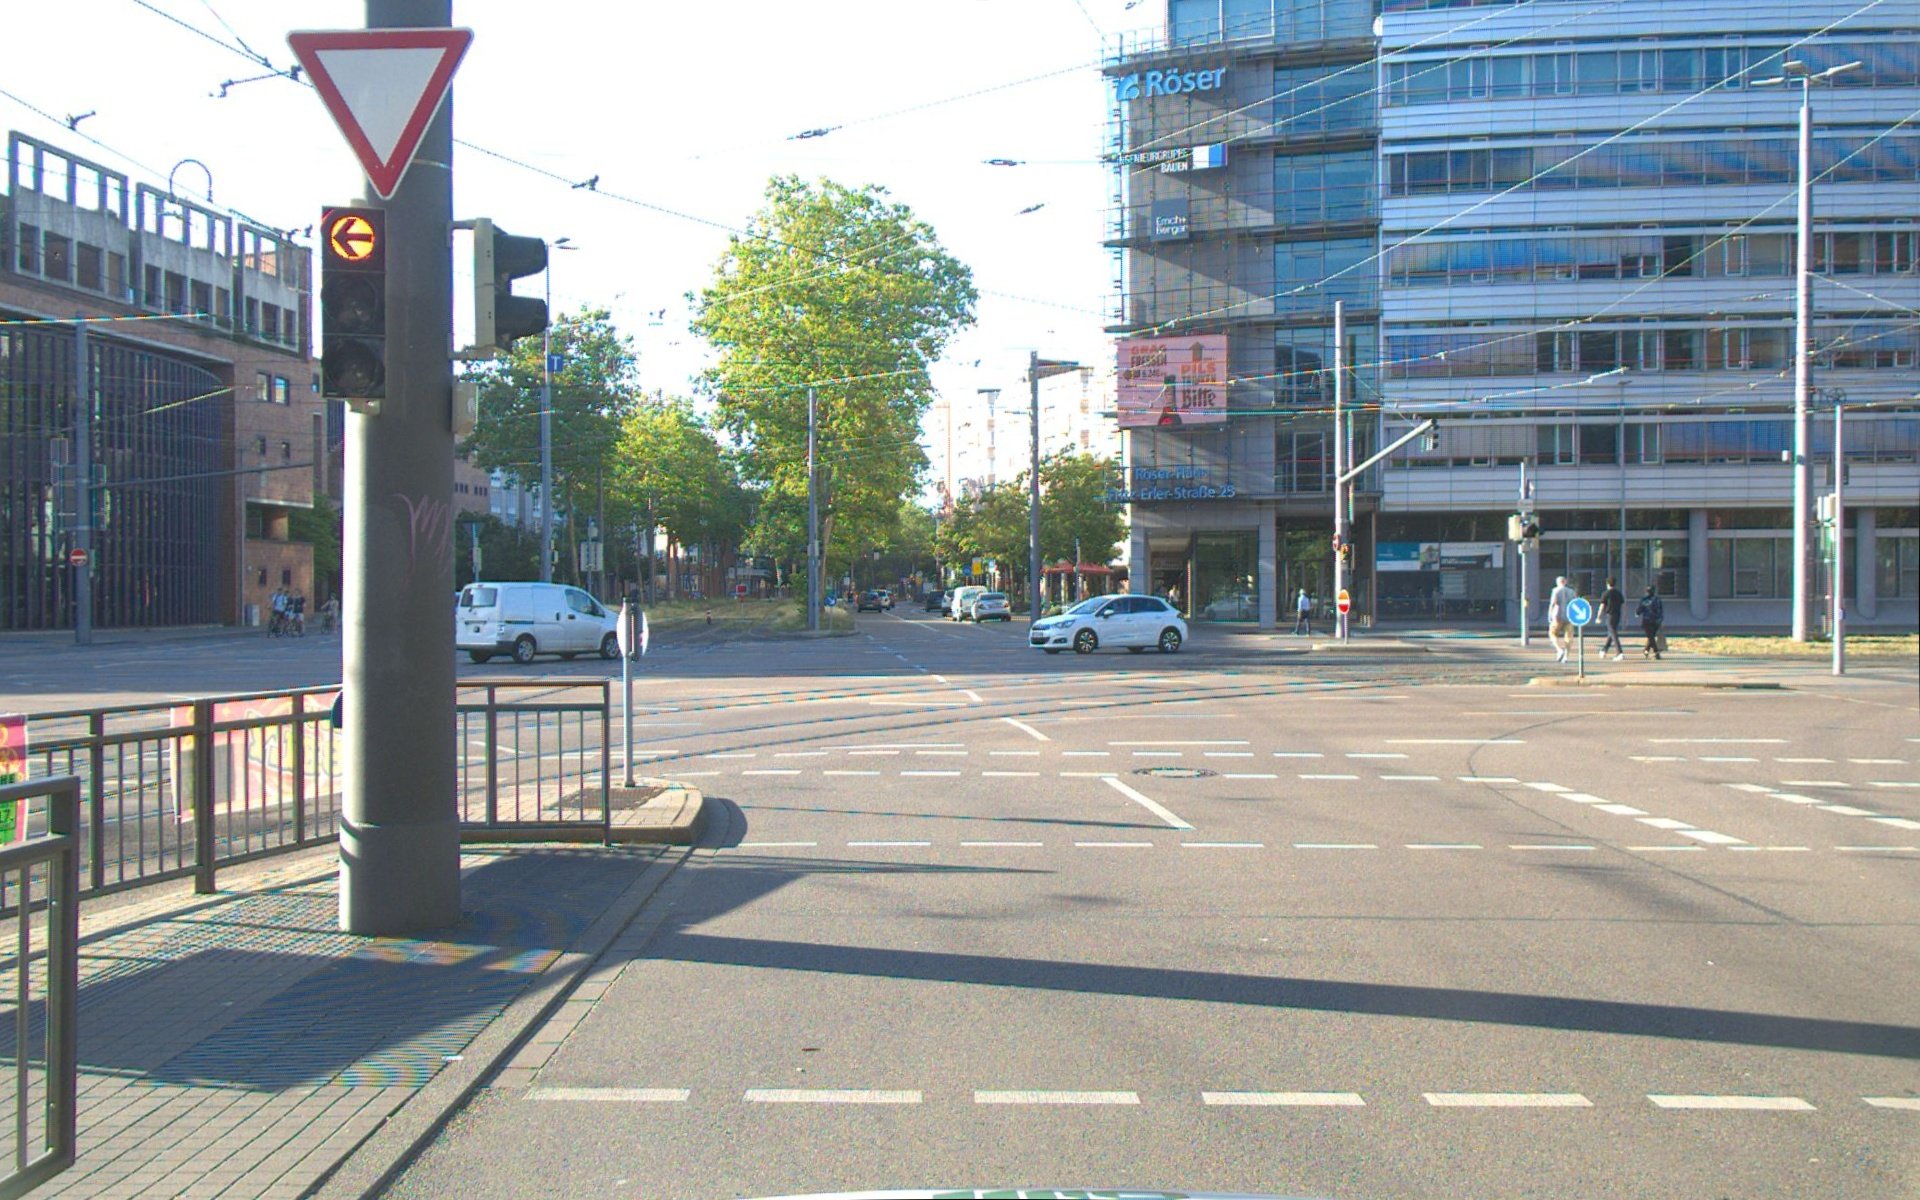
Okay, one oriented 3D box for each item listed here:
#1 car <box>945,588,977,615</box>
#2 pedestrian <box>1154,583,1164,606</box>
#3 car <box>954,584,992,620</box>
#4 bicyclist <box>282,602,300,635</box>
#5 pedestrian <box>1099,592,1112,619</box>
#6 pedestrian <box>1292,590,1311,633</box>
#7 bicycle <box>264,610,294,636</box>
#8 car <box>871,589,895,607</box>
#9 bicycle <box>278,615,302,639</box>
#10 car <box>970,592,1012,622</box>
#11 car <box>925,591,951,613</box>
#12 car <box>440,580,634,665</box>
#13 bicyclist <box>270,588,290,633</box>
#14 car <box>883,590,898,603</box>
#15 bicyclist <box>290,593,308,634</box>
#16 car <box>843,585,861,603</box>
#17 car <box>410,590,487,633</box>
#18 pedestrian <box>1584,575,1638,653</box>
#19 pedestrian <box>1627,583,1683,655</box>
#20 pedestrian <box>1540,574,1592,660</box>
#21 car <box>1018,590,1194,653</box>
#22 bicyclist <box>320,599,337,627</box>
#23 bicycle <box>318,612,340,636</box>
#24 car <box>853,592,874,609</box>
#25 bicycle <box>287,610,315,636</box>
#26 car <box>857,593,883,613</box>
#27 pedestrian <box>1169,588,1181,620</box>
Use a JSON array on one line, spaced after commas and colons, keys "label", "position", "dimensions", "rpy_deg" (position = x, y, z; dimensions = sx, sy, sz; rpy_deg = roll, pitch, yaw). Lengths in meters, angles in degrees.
[{"label": "car", "position": [0.030, 0.068, 105.211], "dimensions": [1.953, 1.646, 3.999], "rpy_deg": [-1, 0, -1]}, {"label": "pedestrian", "position": [15.307, -0.411, 127.200], "dimensions": [0.729, 1.744, 0.612], "rpy_deg": [-1, 0, -1]}, {"label": "car", "position": [0.682, 0.114, 89.575], "dimensions": [1.953, 1.892, 3.999], "rpy_deg": [-1, 0, -1]}, {"label": "bicyclist", "position": [-27.570, 0.761, 68.165], "dimensions": [0.495, 1.327, 0.581], "rpy_deg": [-1, 0, -1]}, {"label": "pedestrian", "position": [9.260, 0.355, 105.130], "dimensions": [0.729, 1.744, 0.612], "rpy_deg": [-1, 0, -1]}, {"label": "pedestrian", "position": [12.209, 0.397, 59.210], "dimensions": [0.599, 1.534, 0.579], "rpy_deg": [-1, 0, 7]}, {"label": "bicycle", "position": [-26.833, 0.915, 65.153], "dimensions": [0.531, 0.980, 1.586], "rpy_deg": [-1, 0, -1]}, {"label": "car", "position": [-6.273, -0.179, 135.101], "dimensions": [1.761, 1.467, 3.999], "rpy_deg": [-1, 0, -1]}, {"label": "bicycle", "position": [-27.584, 1.103, 68.144], "dimensions": [0.458, 0.980, 1.320], "rpy_deg": [-1, 0, -1]}, {"label": "car", "position": [1.531, 0.334, 82.789], "dimensions": [1.953, 1.400, 3.999], "rpy_deg": [-1, 0, -1]}, {"label": "car", "position": [-1.686, 0.128, 126.635], "dimensions": [1.953, 1.646, 3.999], "rpy_deg": [-1, 0, -1]}, {"label": "car", "position": [-10.044, 0.486, 39.593], "dimensions": [1.725, 1.899, 4.511], "rpy_deg": [-1, 0, 34]}, {"label": "bicyclist", "position": [-26.800, 0.420, 65.149], "dimensions": [0.525, 1.761, 0.581], "rpy_deg": [-1, 0, -1]}, {"label": "car", "position": [-9.550, -0.442, 228.139], "dimensions": [1.953, 1.780, 3.999], "rpy_deg": [-1, 0, -1]}, {"label": "bicyclist", "position": [-26.124, 0.524, 65.394], "dimensions": [0.449, 1.631, 0.581], "rpy_deg": [-1, 0, -1]}, {"label": "car", "position": [-13.028, -0.706, 199.257], "dimensions": [1.953, 2.049, 3.999], "rpy_deg": [-1, 0, -1]}, {"label": "car", "position": [-20.672, 0.441, 67.036], "dimensions": [1.953, 1.668, 3.999], "rpy_deg": [-1, 0, -2]}, {"label": "pedestrian", "position": [14.678, 0.311, 37.315], "dimensions": [0.893, 1.714, 1.036], "rpy_deg": [-1, 0, 6]}, {"label": "pedestrian", "position": [15.612, 0.420, 37.163], "dimensions": [0.928, 1.591, 0.897], "rpy_deg": [-1, 0, 6]}, {"label": "pedestrian", "position": [13.024, 0.358, 35.564], "dimensions": [0.845, 1.820, 0.872], "rpy_deg": [-1, 0, 5]}, {"label": "car", "position": [3.750, 0.521, 42.328], "dimensions": [4.244, 1.514, 1.746], "rpy_deg": [-1, 0, -27]}, {"label": "bicyclist", "position": [-27.152, 0.552, 71.133], "dimensions": [0.495, 1.199, 0.581], "rpy_deg": [-1, 0, -1]}, {"label": "bicycle", "position": [-27.148, 1.017, 71.159], "dimensions": [0.442, 0.980, 1.347], "rpy_deg": [-1, 0, -1]}, {"label": "car", "position": [-8.581, 0.020, 146.740], "dimensions": [1.762, 1.467, 3.998], "rpy_deg": [1, 0, -3]}, {"label": "bicycle", "position": [-26.050, 0.909, 65.400], "dimensions": [0.463, 0.980, 1.575], "rpy_deg": [-1, 0, -1]}, {"label": "car", "position": [-6.611, 0.215, 121.973], "dimensions": [1.761, 1.467, 3.999], "rpy_deg": [-1, 0, -1]}, {"label": "pedestrian", "position": [10.379, 0.189, 79.853], "dimensions": [0.599, 1.534, 0.579], "rpy_deg": [-1, 0, 7]}]
